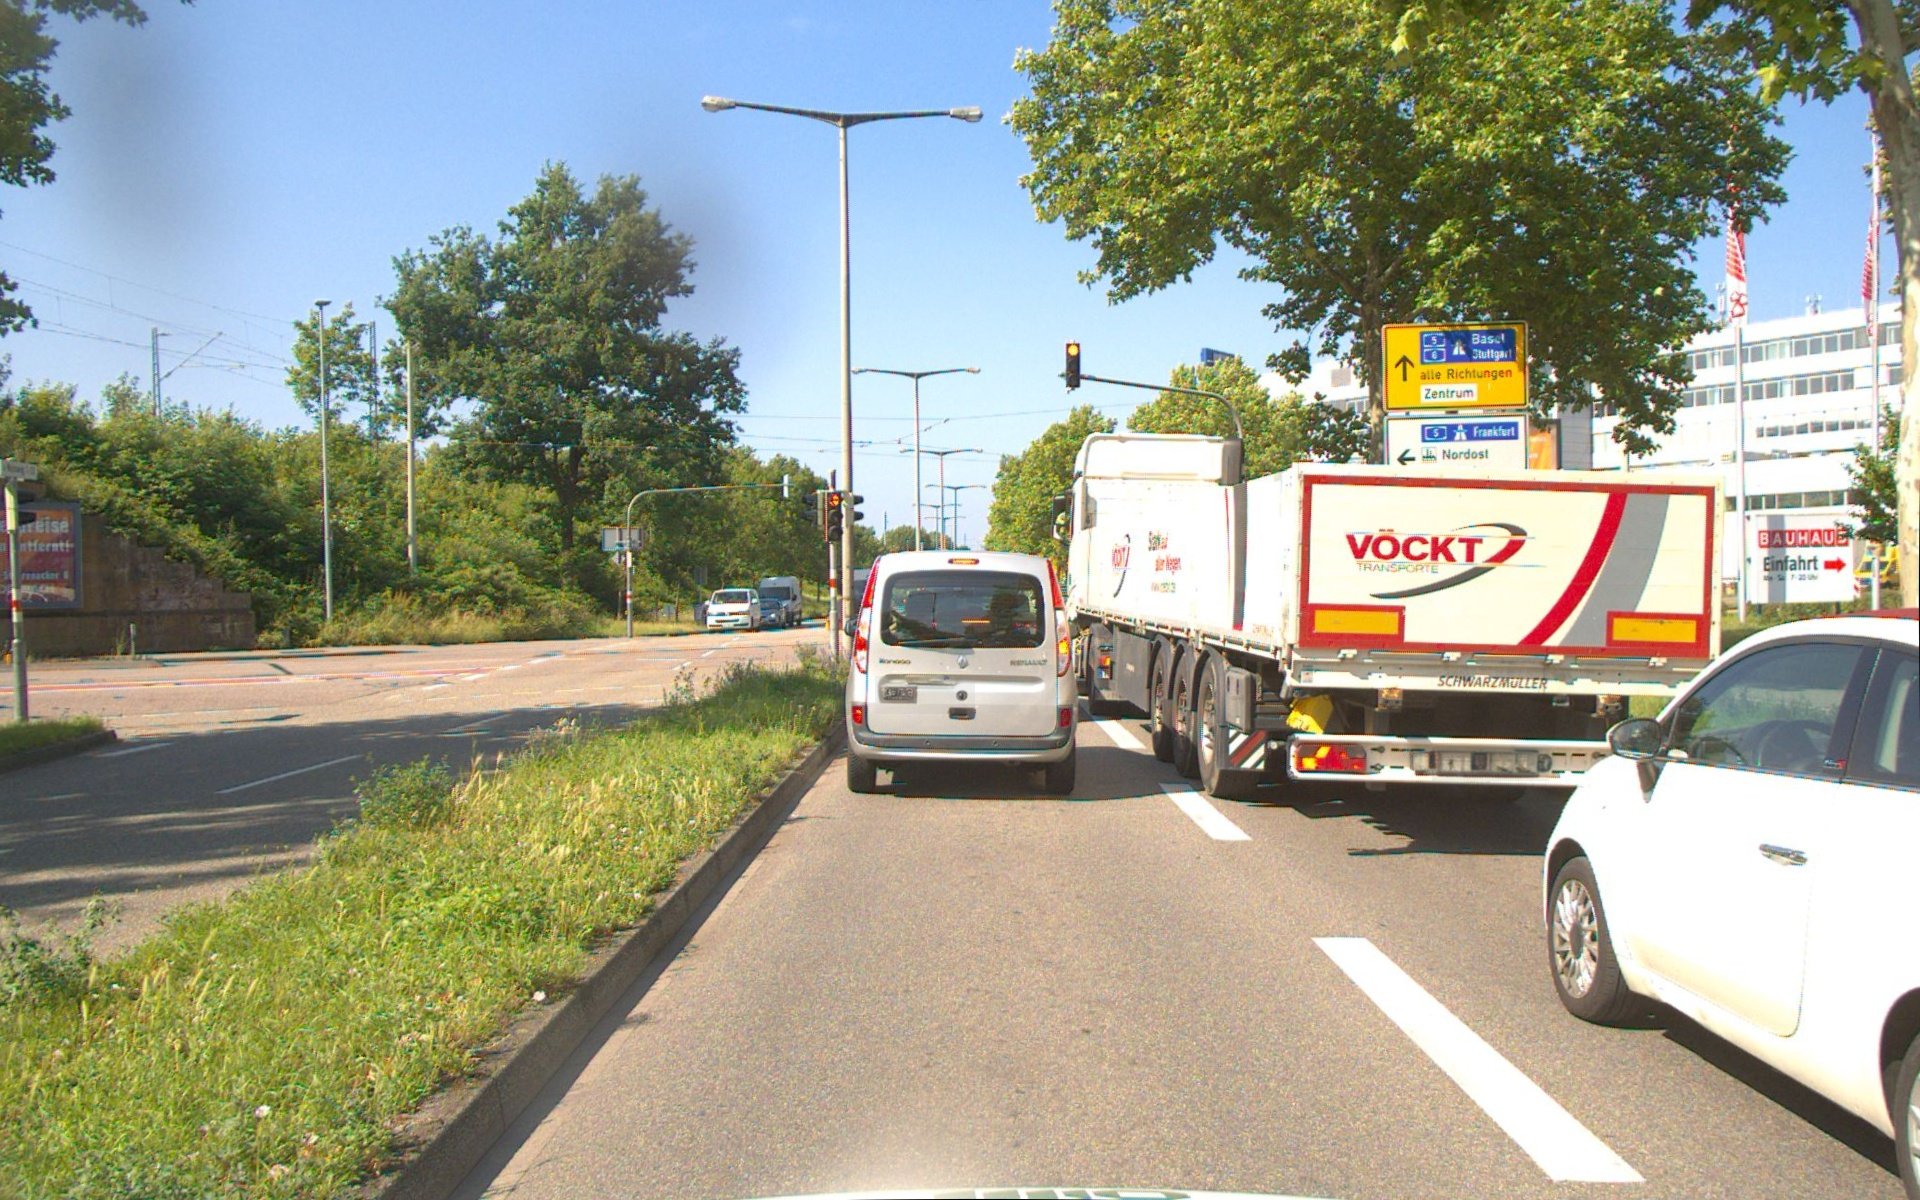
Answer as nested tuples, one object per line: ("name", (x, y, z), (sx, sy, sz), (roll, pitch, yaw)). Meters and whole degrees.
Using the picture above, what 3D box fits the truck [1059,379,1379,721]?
("truck", (3.138, -0.563, 22.319), (3.009, 3.823, 7.474), (0, 0, -1))

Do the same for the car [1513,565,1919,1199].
("car", (3.005, 0.656, 4.872), (1.627, 1.461, 3.520), (0, 0, 1))

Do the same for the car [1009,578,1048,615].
("car", (3.905, -0.205, 94.836), (1.953, 2.049, 3.999), (0, 0, -1))

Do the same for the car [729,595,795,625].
("car", (-9.736, 0.470, 80.977), (1.888, 1.433, 4.190), (0, 0, -27))

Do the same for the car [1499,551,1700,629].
("car", (14.338, -0.227, 37.240), (3.903, 1.691, 1.724), (0, 0, 5))

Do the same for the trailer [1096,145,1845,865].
("trailer", (3.214, -0.505, 14.889), (2.954, 3.806, 12.239), (0, 0, 0))

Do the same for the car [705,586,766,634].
("car", (-9.629, 0.411, 71.240), (1.953, 1.924, 4.986), (-3, 0, -1))

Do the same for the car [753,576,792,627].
("car", (-10.055, 0.061, 88.774), (2.019, 2.660, 5.861), (0, 0, -6))

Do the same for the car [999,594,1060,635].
("car", (2.852, 0.593, 68.665), (1.955, 1.668, 3.995), (0, 0, -6))

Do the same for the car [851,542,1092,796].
("car", (0.058, 0.492, 13.738), (1.713, 1.803, 3.948), (0, 0, -1))

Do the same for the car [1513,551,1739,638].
("car", (13.413, -0.117, 33.485), (3.903, 1.691, 1.724), (0, 0, 5))
